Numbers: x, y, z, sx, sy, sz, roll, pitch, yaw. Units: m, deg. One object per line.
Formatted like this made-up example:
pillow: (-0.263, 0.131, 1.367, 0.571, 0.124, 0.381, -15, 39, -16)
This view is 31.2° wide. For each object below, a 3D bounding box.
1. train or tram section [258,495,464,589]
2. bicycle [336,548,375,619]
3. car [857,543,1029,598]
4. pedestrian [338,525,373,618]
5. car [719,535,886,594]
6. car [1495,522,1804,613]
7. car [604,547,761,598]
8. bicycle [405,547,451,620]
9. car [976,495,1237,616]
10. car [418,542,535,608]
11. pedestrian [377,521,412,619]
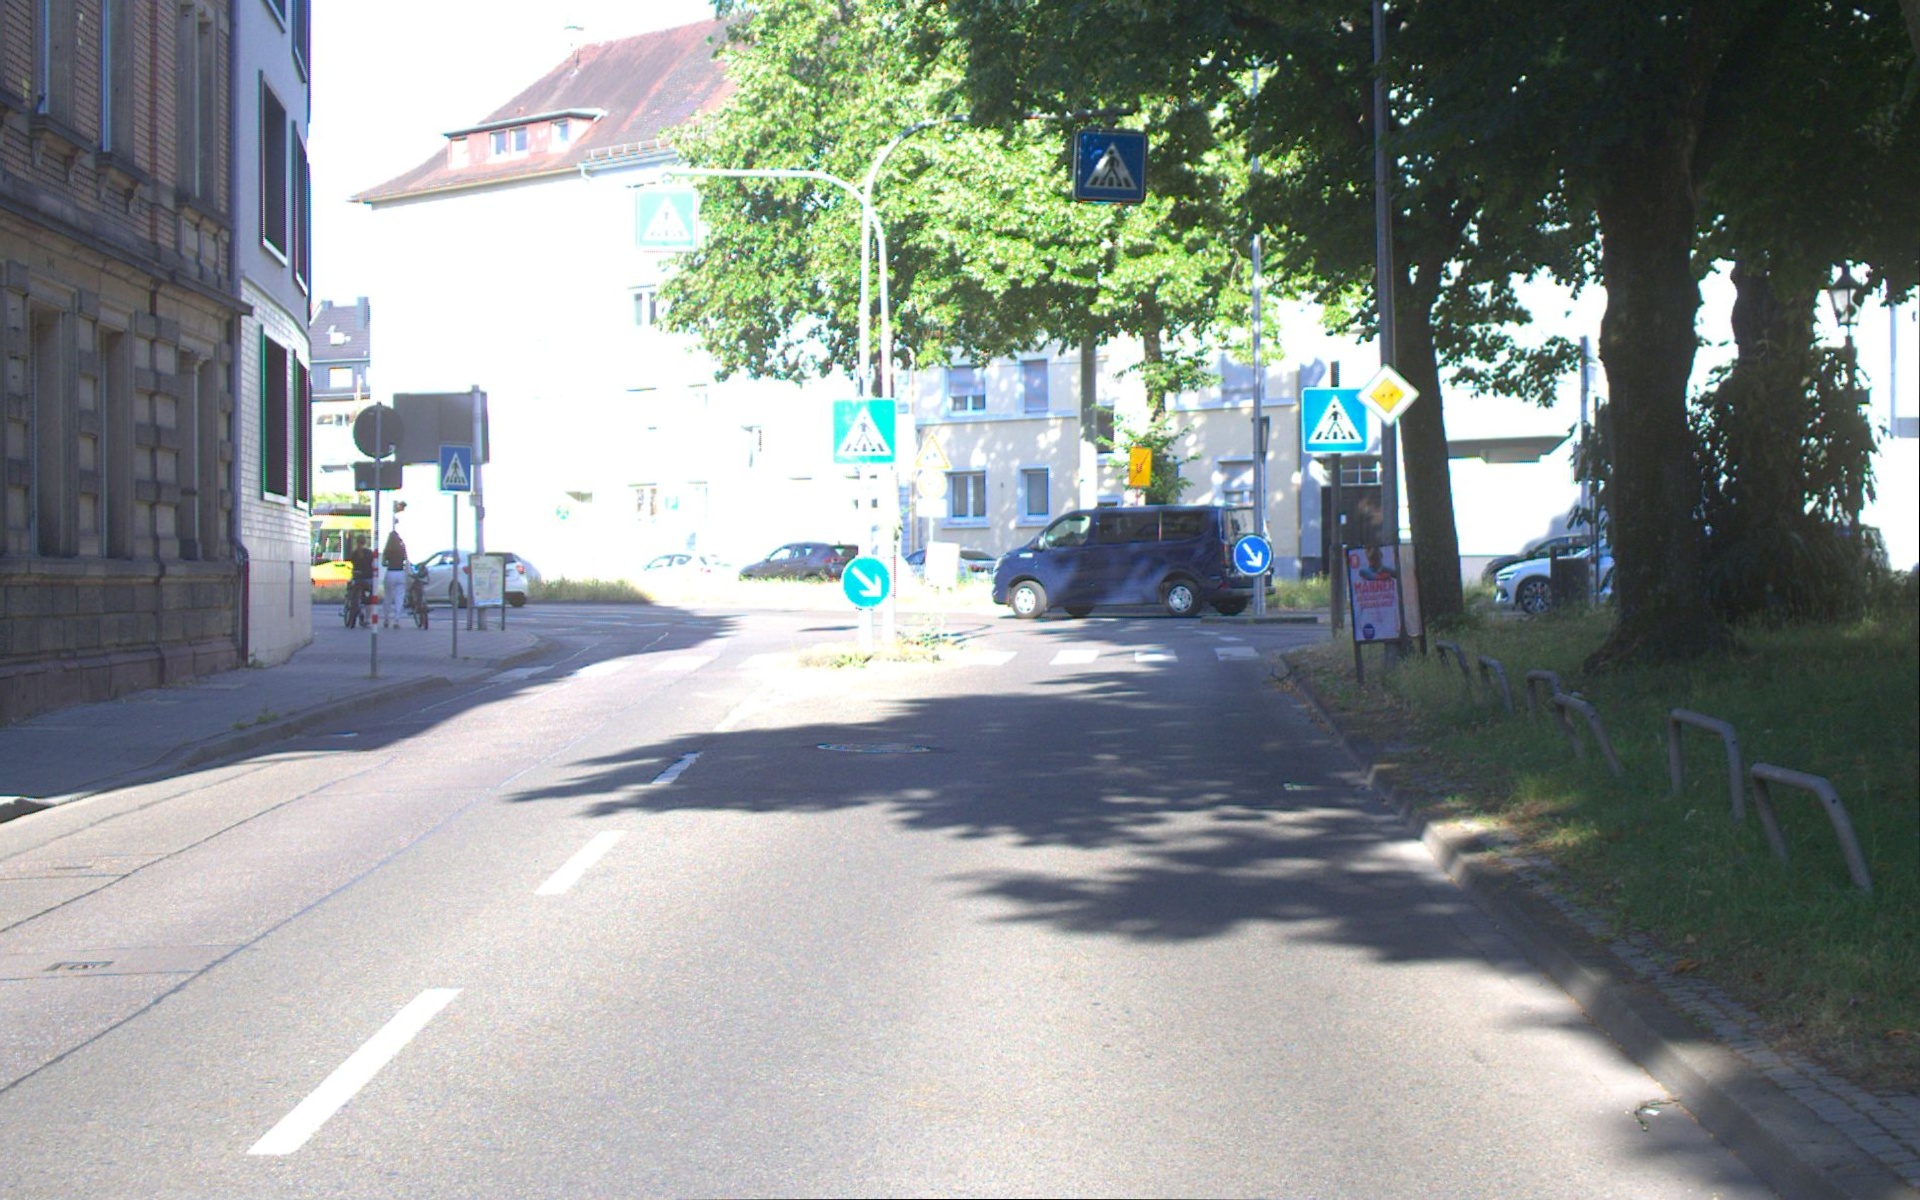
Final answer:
train or tram section: (-23.479, -2.249, 135.423, 2.779, 3.543, 9.906, 0, 1, 26)
bicycle: (-10.173, -0.286, 57.830, 0.375, 1.163, 1.838, -3, 2, -17)
car: (-0.470, -0.788, 90.123, 1.995, 1.381, 4.444, -1, 2, -44)
pedestrian: (-10.221, -0.490, 58.136, 0.474, 1.559, 0.602, -1, 1, -19)
car: (-4.344, -0.963, 94.303, 1.995, 1.567, 4.638, -1, 1, -44)
car: (11.442, -0.566, 57.106, 4.762, 1.458, 1.853, 1, 2, 23)
car: (-7.938, -0.802, 98.144, 4.443, 1.381, 1.995, 1, 2, 43)
bicycle: (-9.003, -0.288, 58.130, 0.440, 1.174, 1.967, 1, 1, -18)
car: (2.507, -0.776, 59.078, 3.994, 2.007, 1.996, 1, 1, 31)
car: (-11.646, -0.626, 82.679, 1.958, 1.500, 3.686, -1, 1, -21)
pedestrian: (-9.560, -0.510, 58.102, 0.474, 1.642, 0.602, -1, 1, -18)
